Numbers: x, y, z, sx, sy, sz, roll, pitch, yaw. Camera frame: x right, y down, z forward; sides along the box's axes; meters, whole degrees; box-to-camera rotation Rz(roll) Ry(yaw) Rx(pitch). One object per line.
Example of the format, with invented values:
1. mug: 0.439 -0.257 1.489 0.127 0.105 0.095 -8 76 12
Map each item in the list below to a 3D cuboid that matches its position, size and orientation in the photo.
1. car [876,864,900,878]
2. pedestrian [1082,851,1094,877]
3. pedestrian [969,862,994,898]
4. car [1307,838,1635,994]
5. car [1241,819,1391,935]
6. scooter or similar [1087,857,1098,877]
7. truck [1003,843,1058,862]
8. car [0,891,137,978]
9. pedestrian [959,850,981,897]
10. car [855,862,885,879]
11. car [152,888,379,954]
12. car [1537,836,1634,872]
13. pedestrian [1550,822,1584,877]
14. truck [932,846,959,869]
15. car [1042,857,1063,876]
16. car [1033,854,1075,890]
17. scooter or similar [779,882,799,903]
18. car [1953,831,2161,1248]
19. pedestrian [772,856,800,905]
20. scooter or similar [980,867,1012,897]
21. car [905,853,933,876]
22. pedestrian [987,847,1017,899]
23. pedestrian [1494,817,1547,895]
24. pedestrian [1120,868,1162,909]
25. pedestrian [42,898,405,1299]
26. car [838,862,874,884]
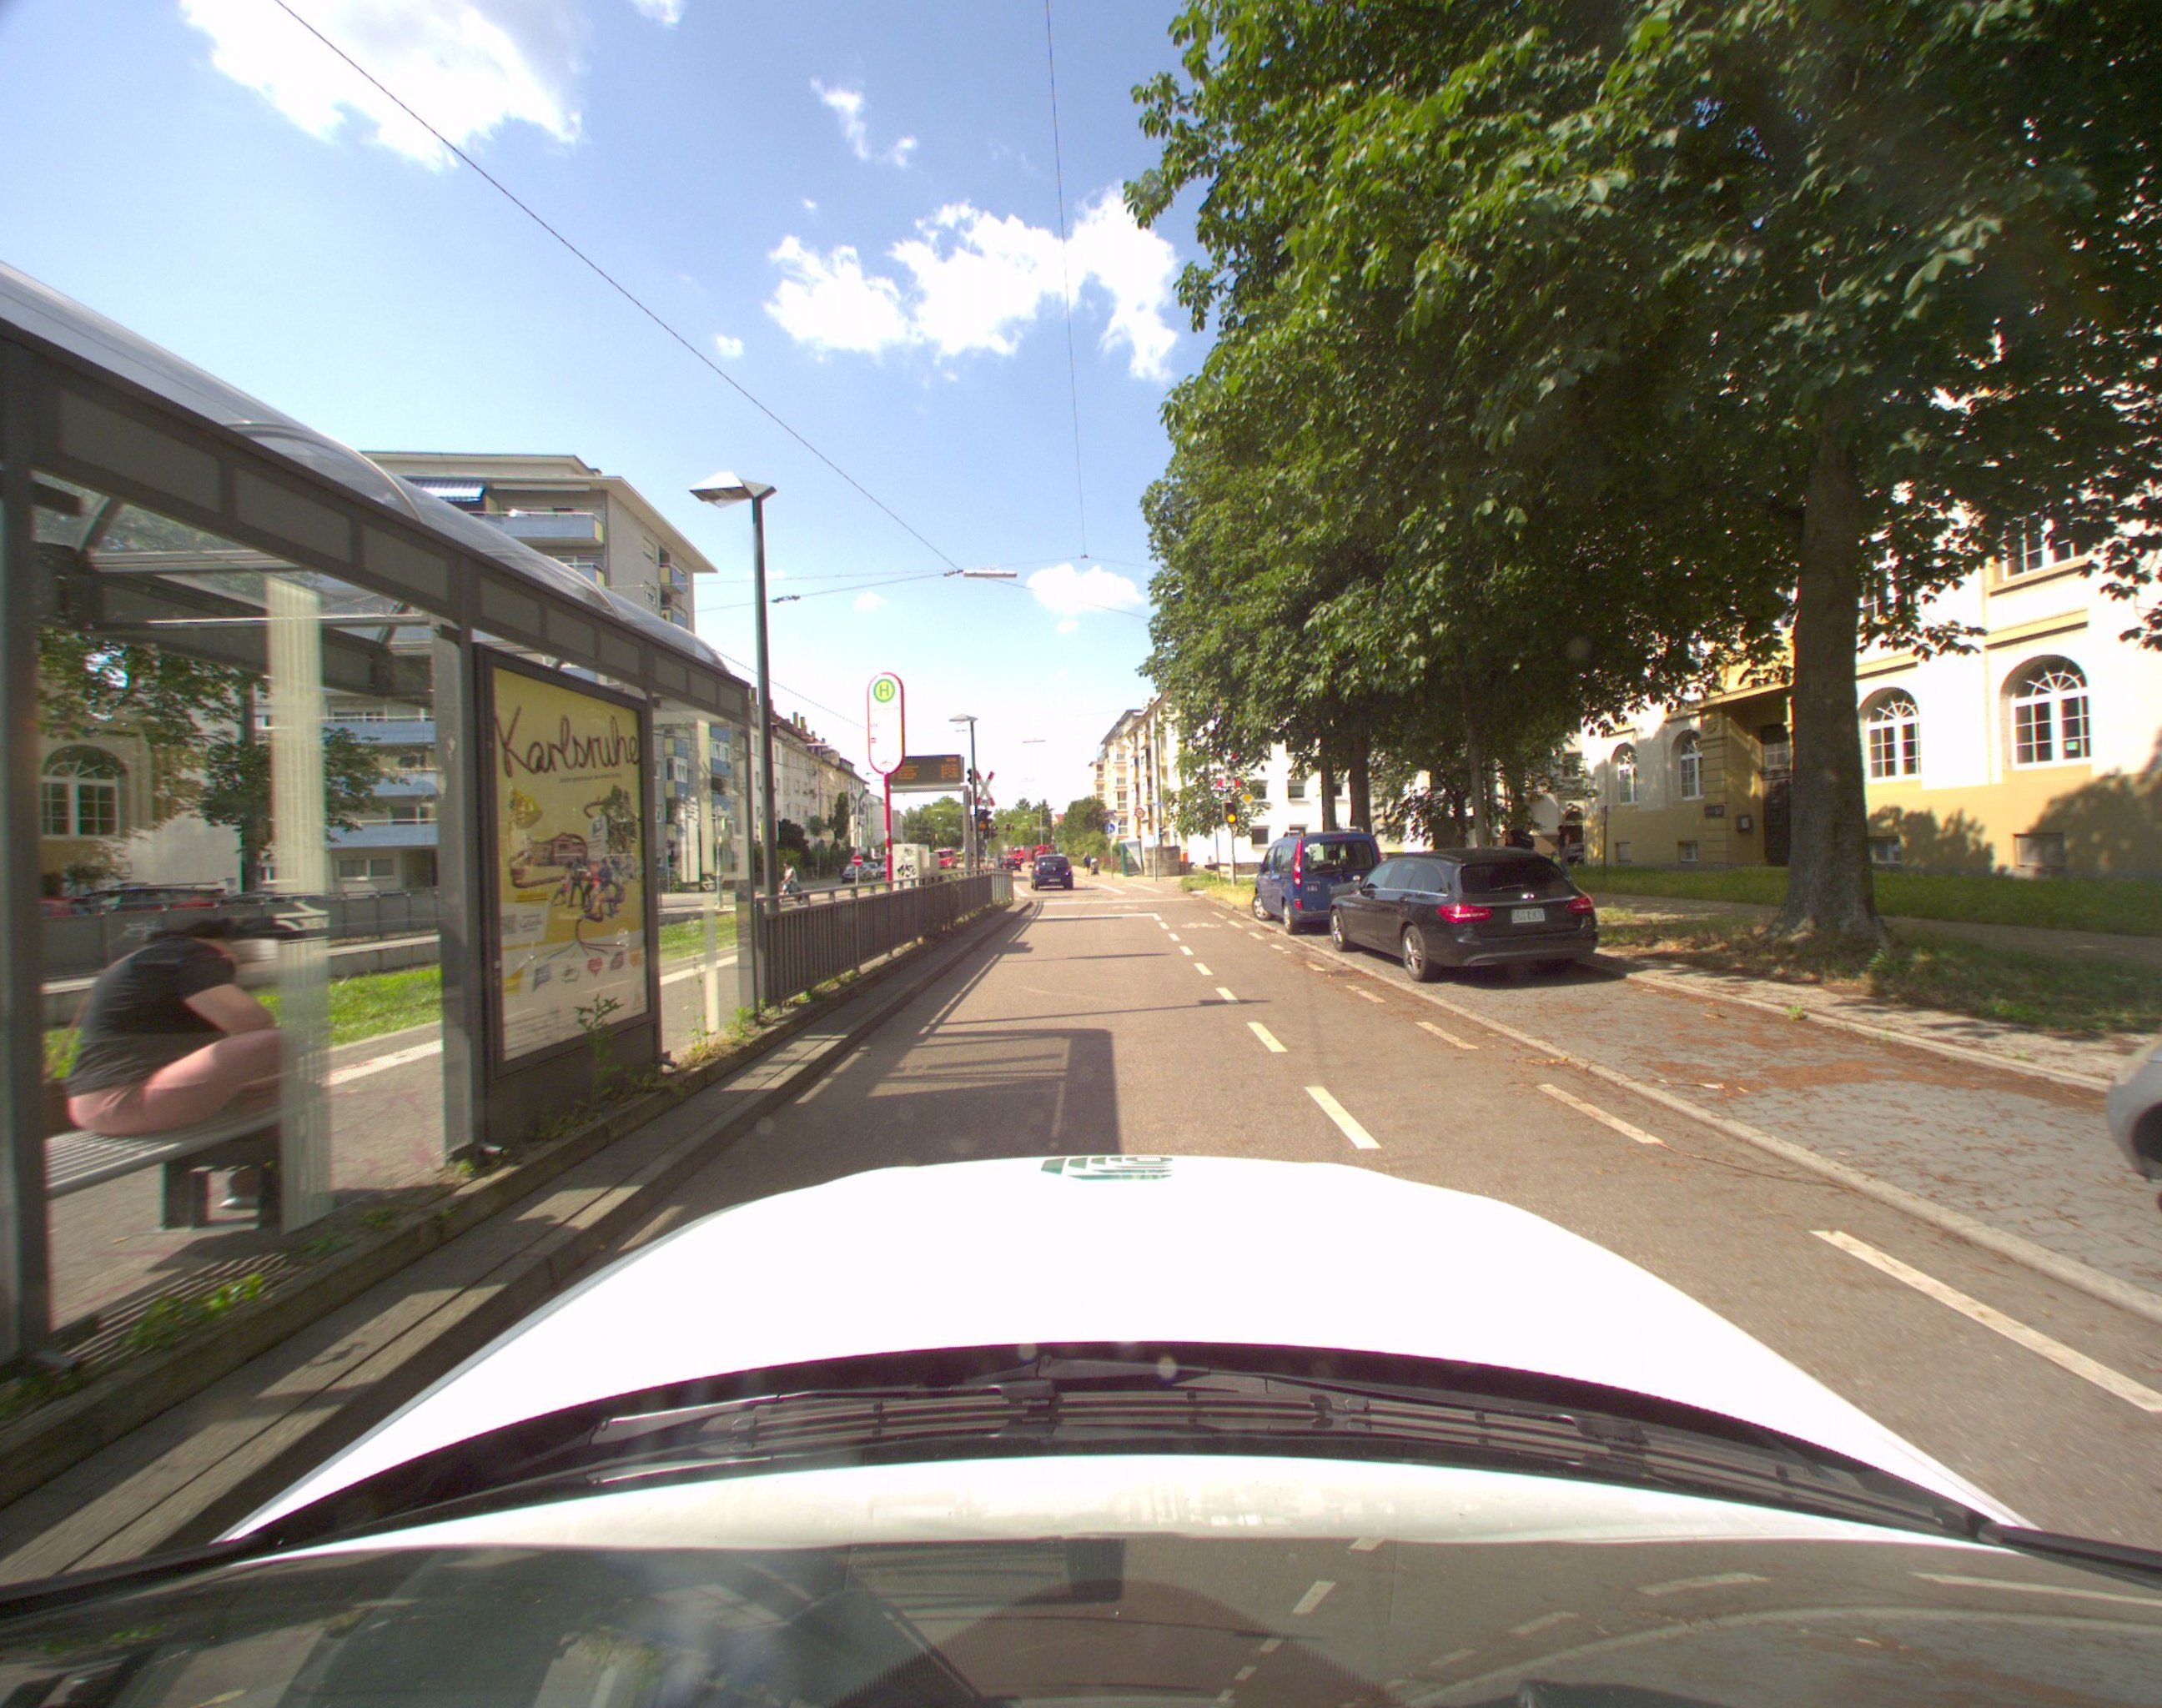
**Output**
1. car: -19.375 1.683 81.720 1.765 1.442 3.993 0 -1 -5
2. pedestrian: 0.509 0.689 57.729 0.699 1.789 1.030 -5 0 0
3. pedestrian: -3.374 0.874 27.711 0.639 1.180 0.793 -2 -1 -20
4. car: 4.643 0.612 10.699 1.911 1.442 4.795 -4 0 0
5. car: 4.436 0.377 16.059 1.815 1.896 4.186 -3 0 2
6. scooter or similar: 0.788 0.895 56.844 0.660 1.303 0.869 -5 0 1
7. truck: -9.180 -0.246 148.250 10.214 3.471 2.645 0 -1 -37
8. car: -22.151 1.670 16.431 3.678 1.579 1.633 -2 0 -30
9. pedestrian: -3.915 0.696 28.826 0.704 1.648 0.636 0 -1 -3
10. car: -18.579 1.401 71.782 1.764 1.442 3.995 0 -1 -3
11. car: -21.850 1.731 22.085 4.154 1.394 1.591 -2 0 -38
12. car: 22.433 -0.007 36.392 1.734 1.459 3.997 -2 0 -2
13. pedestrian: 14.372 -0.121 24.097 0.629 1.596 0.539 -2 -1 -2
14. truck: -19.904 0.526 120.070 2.589 3.185 8.376 -3 0 -2
15. car: -2.332 1.007 66.031 1.619 1.465 3.506 0 -1 -3
16. car: -1.190 0.771 35.946 1.739 1.507 3.997 0 -1 -2
17. scooter or similar: -10.410 1.369 29.037 0.441 0.698 0.700 -2 0 0
18. car: 4.550 0.619 1.696 1.585 1.445 3.598 -4 0 1
19. pedestrian: -10.308 0.921 28.460 0.658 1.664 0.632 -2 0 0
20. scooter or similar: -3.009 0.993 28.896 1.098 1.056 0.649 0 -1 -5
21. car: -16.630 1.029 83.820 1.988 2.275 4.830 -1 0 -2
22. pedestrian: -2.638 0.627 27.151 0.847 1.667 0.795 -2 -1 -15
23. pedestrian: 10.011 0.044 18.574 0.741 1.696 0.767 -3 0 1
24. pedestrian: 3.100 1.766 42.902 1.986 2.014 4.001 0 -1 1
25. pedestrian: -2.903 0.717 2.783 0.655 1.072 0.728 -2 1 35
26. car: -18.149 1.505 65.780 1.989 1.645 3.995 0 -1 -3
